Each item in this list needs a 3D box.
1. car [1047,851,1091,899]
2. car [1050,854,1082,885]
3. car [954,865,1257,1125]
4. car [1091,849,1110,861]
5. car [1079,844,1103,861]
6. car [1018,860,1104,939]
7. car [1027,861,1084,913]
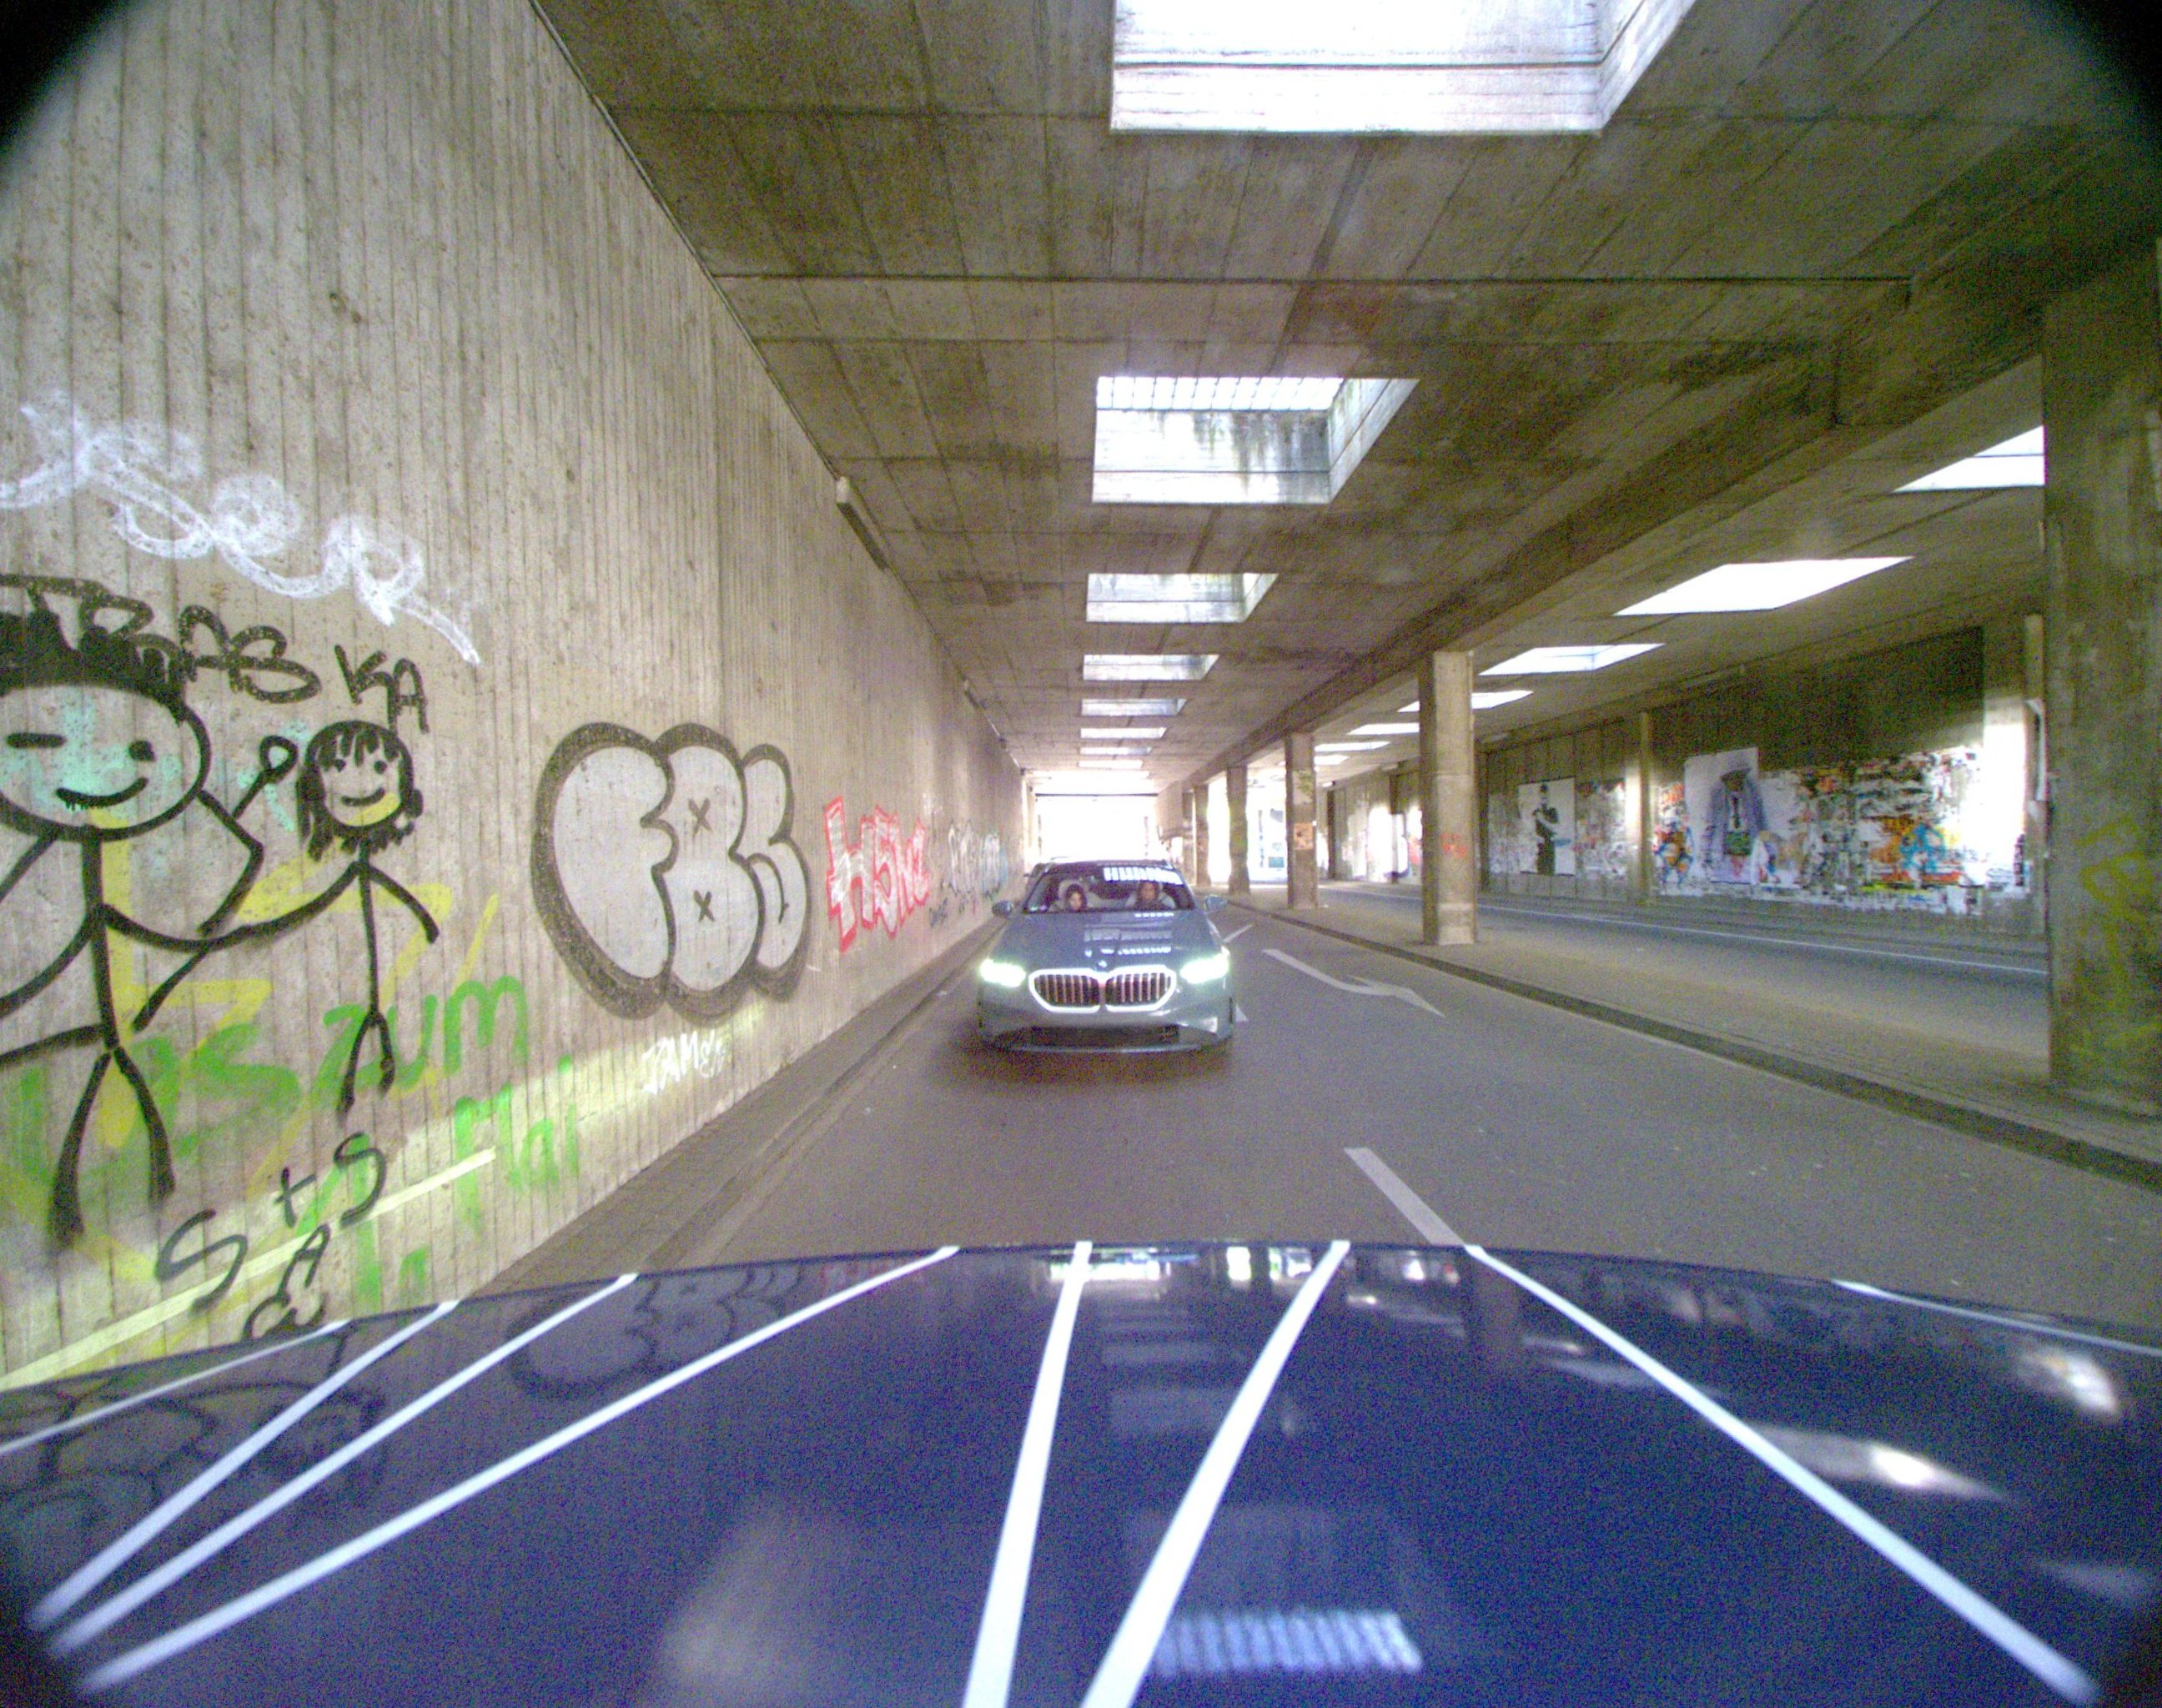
[{"bbox_3d":[-0.444,0.786,29.919,1.592,1.711,3.694,-2,0,0],"label":"car"},{"bbox_3d":[-0.787,0.822,41.246,1.592,1.562,3.694,-2,0,0],"label":"car"},{"bbox_3d":[0.143,0.918,7.277,1.861,1.516,5.042,-2,0,0],"label":"car"},{"bbox_3d":[2.505,0.155,97.966,1.741,1.519,3.786,-2,0,-9],"label":"car"},{"bbox_3d":[1.308,-0.174,103.658,2.161,2.150,4.785,-2,0,-12],"label":"car"},{"bbox_3d":[-0.409,0.934,17.286,1.679,1.516,3.969,-2,0,0],"label":"car"},{"bbox_3d":[-0.744,0.963,23.912,1.592,1.432,3.806,-2,0,0],"label":"car"}]
